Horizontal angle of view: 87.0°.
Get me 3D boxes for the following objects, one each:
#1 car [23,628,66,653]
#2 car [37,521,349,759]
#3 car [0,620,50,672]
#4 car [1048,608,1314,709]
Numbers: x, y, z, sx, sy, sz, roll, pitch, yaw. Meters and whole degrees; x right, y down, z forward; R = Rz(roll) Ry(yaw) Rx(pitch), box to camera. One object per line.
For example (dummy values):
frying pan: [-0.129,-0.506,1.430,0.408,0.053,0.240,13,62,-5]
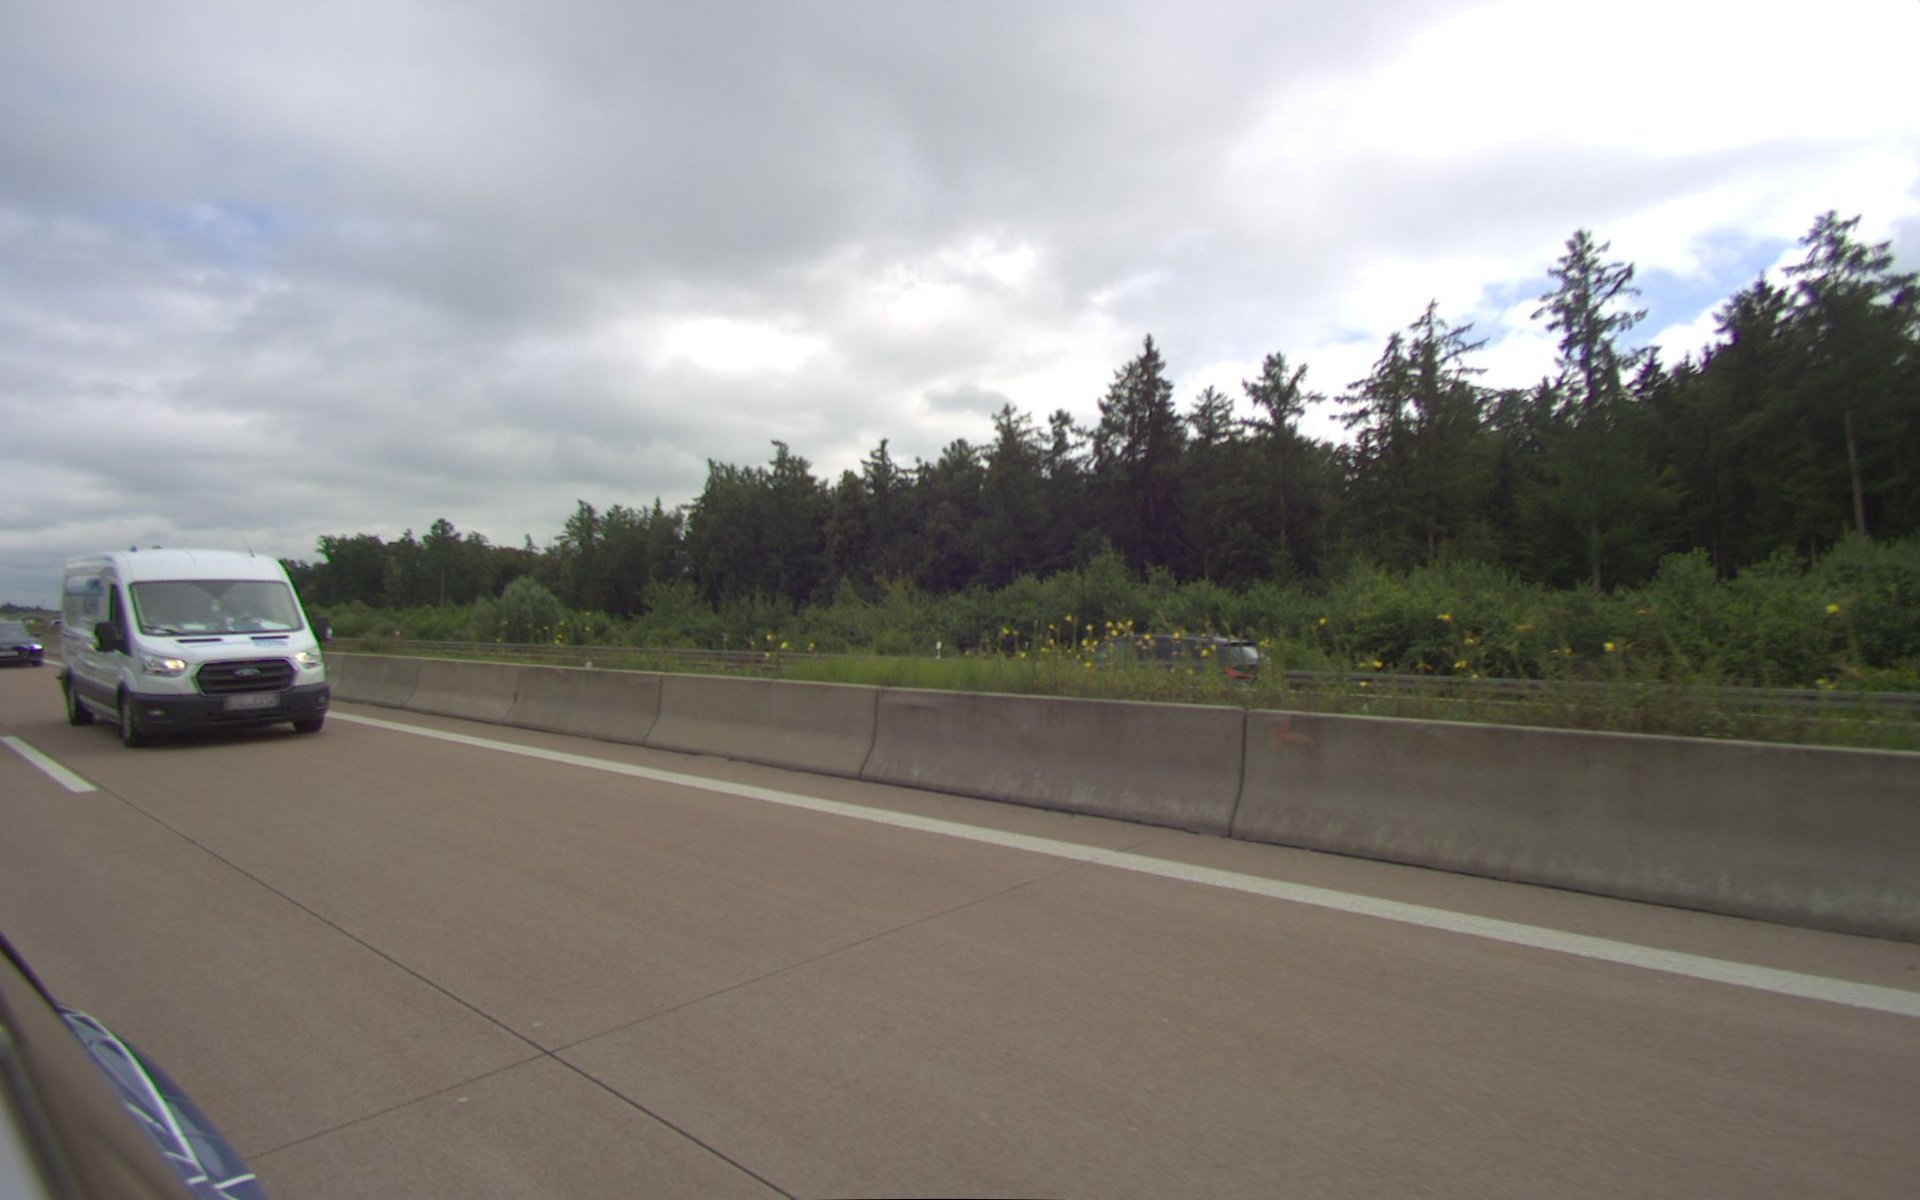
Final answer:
car: [-70.471,3.095,77.874,4.429,1.687,1.943,-1,2,42]
car: [-10.803,0.496,13.932,7.129,2.526,2.115,-1,-1,42]
car: [-31.021,1.446,32.522,5.672,1.562,2.063,-1,0,42]
car: [3.521,0.873,16.493,3.891,1.445,1.730,-1,-1,42]
